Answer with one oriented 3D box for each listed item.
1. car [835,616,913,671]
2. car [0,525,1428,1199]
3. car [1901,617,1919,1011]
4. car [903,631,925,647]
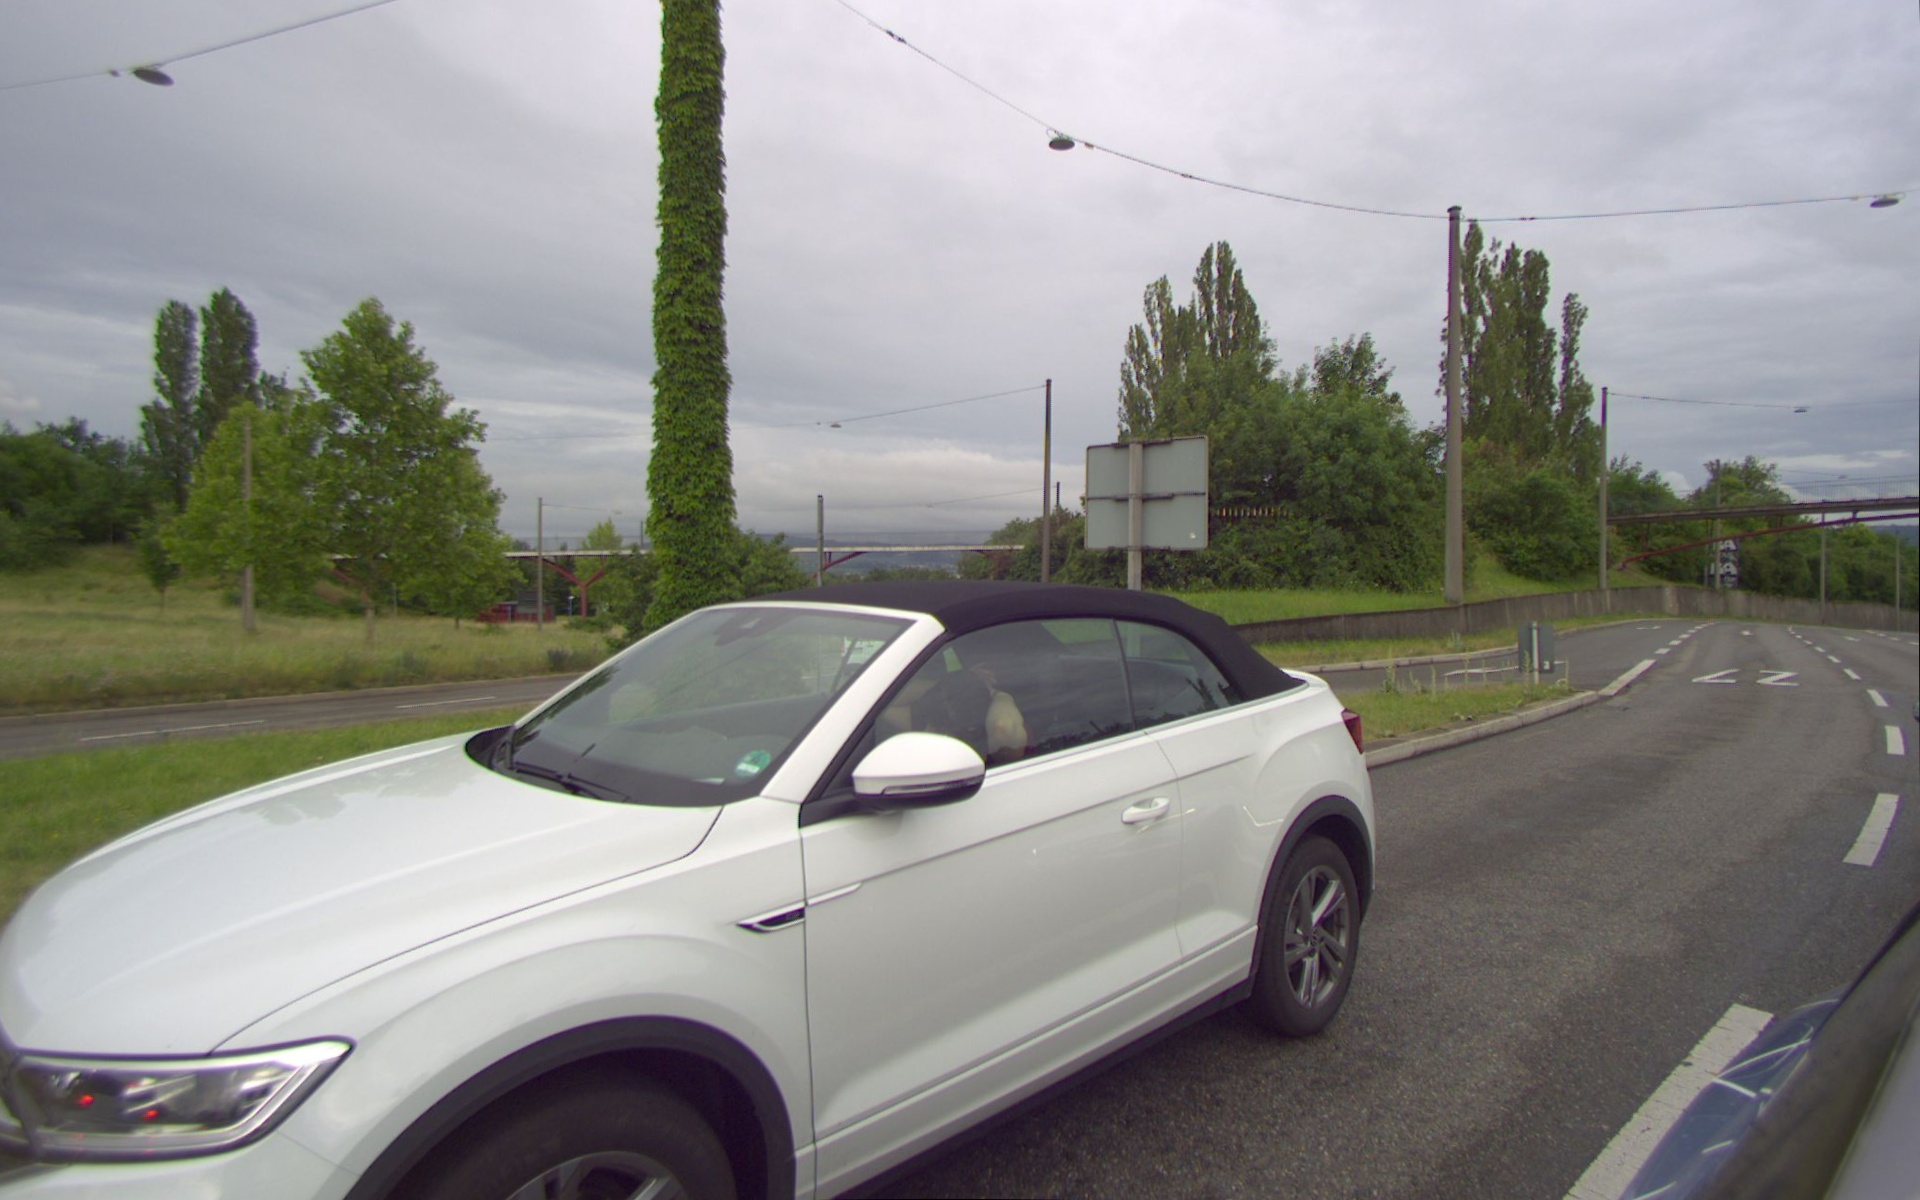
[{"bbox_3d":[-3.100,1.570,37.396,1.965,1.872,4.813,-1,-2,6],"label":"car"},{"bbox_3d":[-0.264,0.667,3.083,4.160,1.572,1.714,-1,1,-44],"label":"car"},{"bbox_3d":[5.504,0.748,4.254,4.064,1.385,1.893,-1,1,-42],"label":"car"},{"bbox_3d":[-4.281,3.608,94.184,1.655,1.438,4.077,-2,-2,3],"label":"car"}]
